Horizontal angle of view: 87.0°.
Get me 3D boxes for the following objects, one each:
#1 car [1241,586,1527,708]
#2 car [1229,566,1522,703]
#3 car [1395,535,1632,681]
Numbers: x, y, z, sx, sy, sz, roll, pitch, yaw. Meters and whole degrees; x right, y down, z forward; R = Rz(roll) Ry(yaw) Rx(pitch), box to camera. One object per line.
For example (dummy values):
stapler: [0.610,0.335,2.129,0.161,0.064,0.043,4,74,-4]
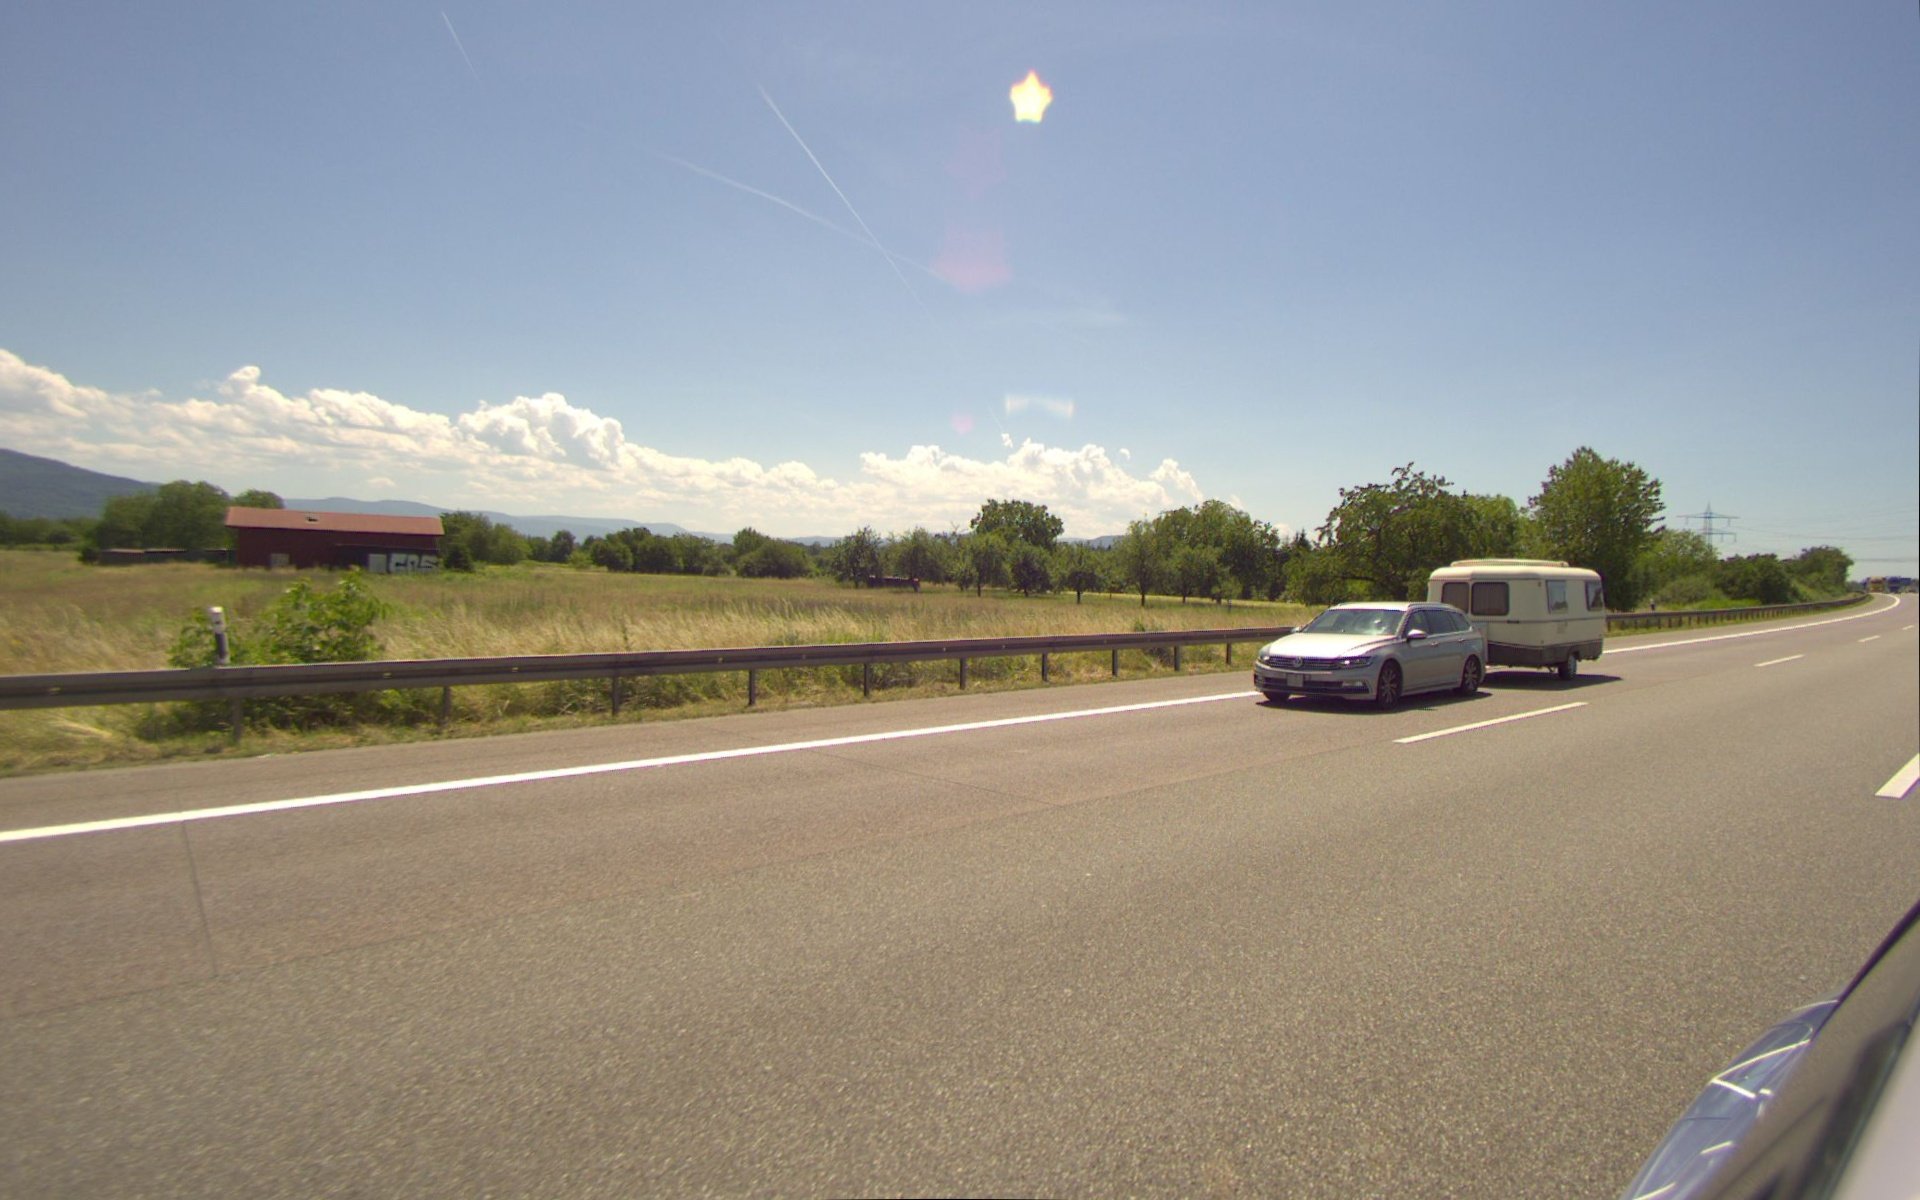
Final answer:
car: [6.523,0.589,15.214,5.287,1.535,1.889,0,0,-42]
car: [6.382,0.436,15.144,5.418,1.679,2.047,1,1,-44]
car: [10.505,0.135,19.005,5.233,2.351,2.444,1,1,-44]
